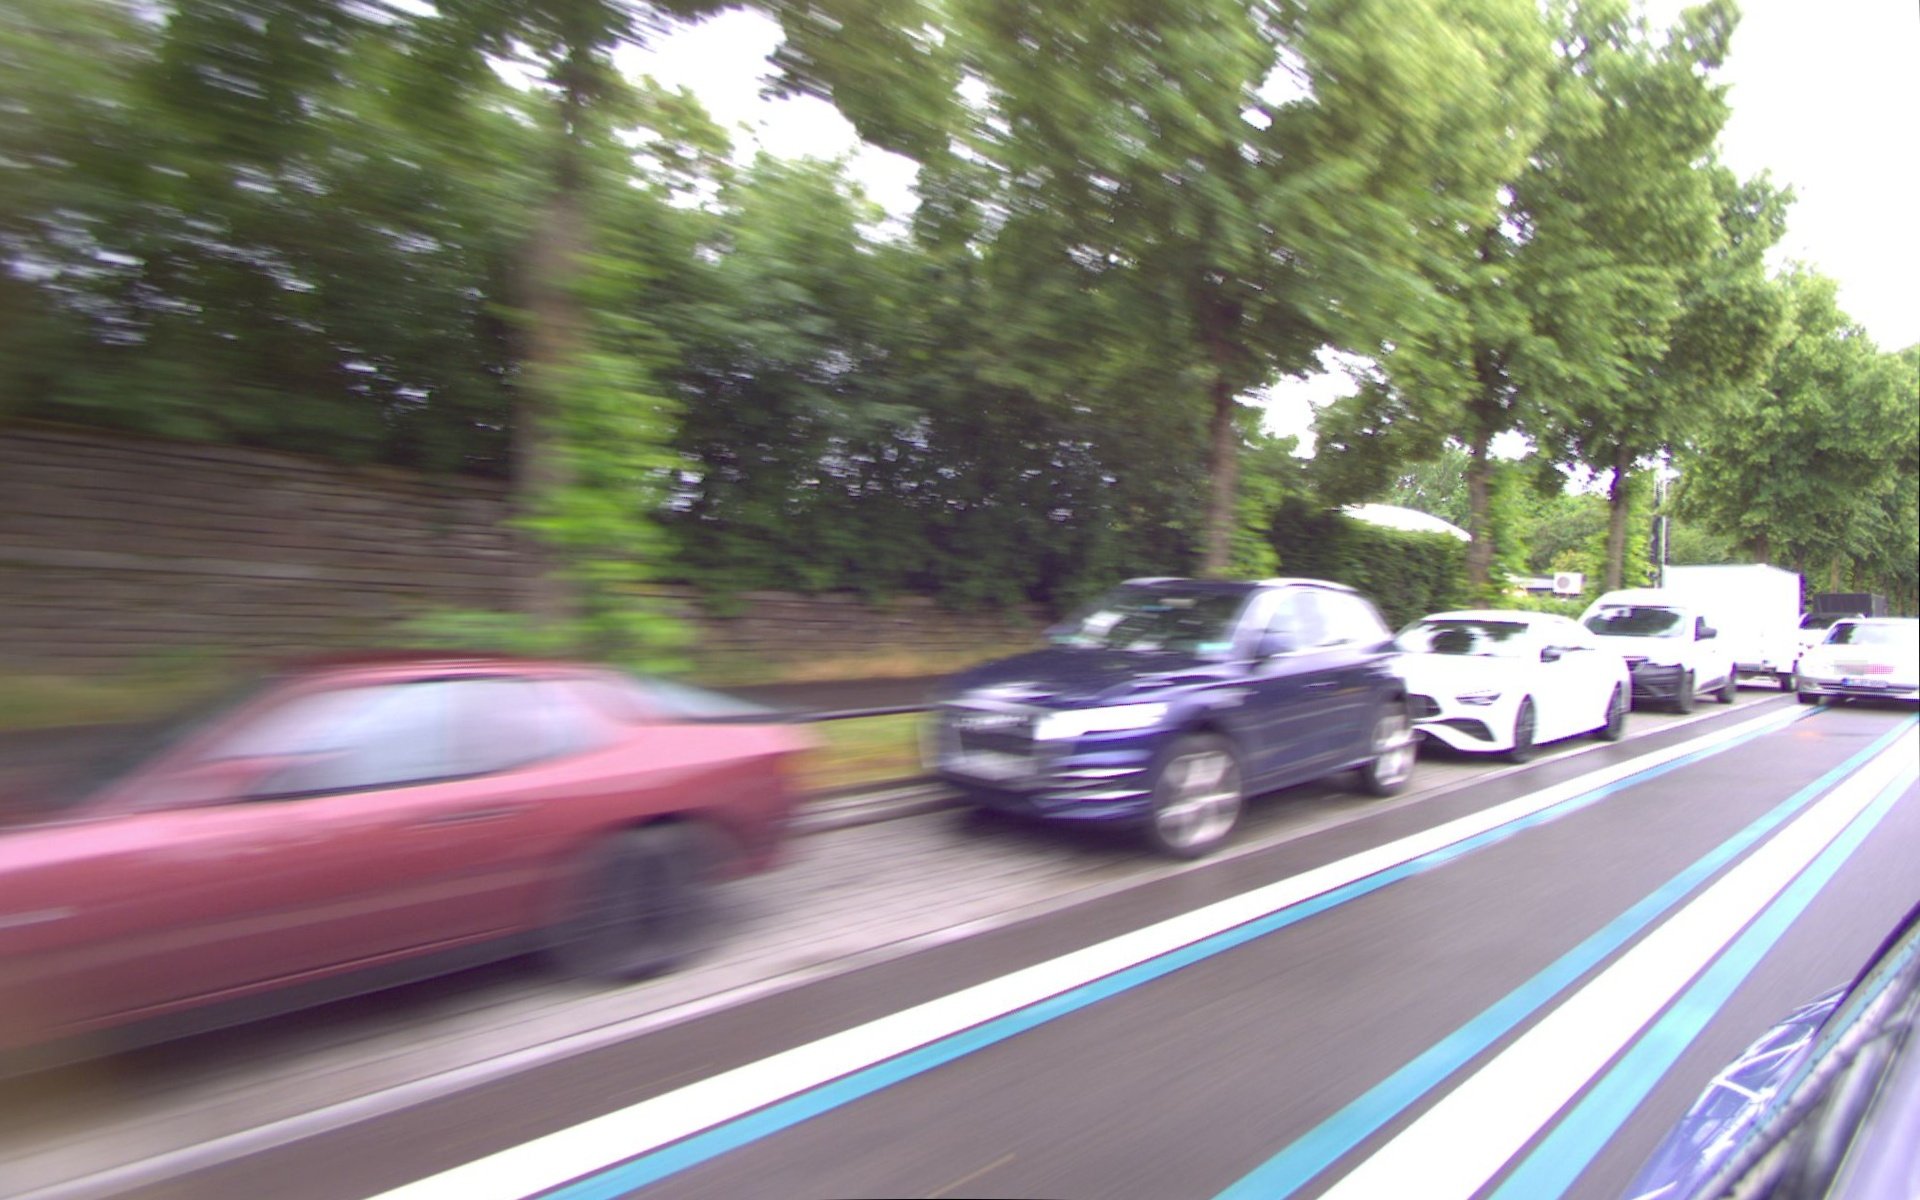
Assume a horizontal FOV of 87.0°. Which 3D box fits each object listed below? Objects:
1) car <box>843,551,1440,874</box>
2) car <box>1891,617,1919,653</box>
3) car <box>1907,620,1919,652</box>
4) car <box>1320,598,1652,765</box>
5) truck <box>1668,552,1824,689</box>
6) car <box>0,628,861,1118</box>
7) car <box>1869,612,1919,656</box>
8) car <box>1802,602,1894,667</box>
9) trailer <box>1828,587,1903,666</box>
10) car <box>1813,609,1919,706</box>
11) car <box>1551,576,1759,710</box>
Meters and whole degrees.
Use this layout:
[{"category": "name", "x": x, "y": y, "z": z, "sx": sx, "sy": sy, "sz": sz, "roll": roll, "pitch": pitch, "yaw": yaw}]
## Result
[{"category": "car", "x": 1.578, "y": 0.569, "z": 7.289, "sx": 1.994, "sy": 1.580, "sz": 4.567, "roll": 1, "pitch": 0, "yaw": 45}, {"category": "car", "x": 39.965, "y": 1.448, "z": 42.064, "sx": 3.934, "sy": 1.444, "sz": 1.691, "roll": 1, "pitch": 0, "yaw": -45}, {"category": "car", "x": 44.370, "y": 1.629, "z": 46.006, "sx": 4.014, "sy": 1.400, "sz": 1.687, "roll": 1, "pitch": -1, "yaw": -43}, {"category": "car", "x": 5.829, "y": 0.741, "z": 10.945, "sx": 4.537, "sy": 1.444, "sz": 1.662, "roll": 1, "pitch": 0, "yaw": -41}, {"category": "truck", "x": 15.103, "y": 0.375, "z": 19.377, "sx": 3.931, "sy": 2.363, "sz": 1.721, "roll": 1, "pitch": -1, "yaw": -42}, {"category": "car", "x": -2.500, "y": 0.740, "z": 3.716, "sx": 4.112, "sy": 1.205, "sz": 1.627, "roll": 1, "pitch": 0, "yaw": -43}, {"category": "car", "x": 35.875, "y": 1.264, "z": 38.337, "sx": 4.265, "sy": 1.592, "sz": 1.691, "roll": 1, "pitch": -2, "yaw": -42}, {"category": "car", "x": 23.995, "y": 0.891, "z": 27.362, "sx": 1.755, "sy": 1.605, "sz": 4.346, "roll": 1, "pitch": 0, "yaw": 42}, {"category": "trailer", "x": 27.846, "y": 0.803, "z": 31.085, "sx": 3.502, "sy": 2.298, "sz": 1.348, "roll": 1, "pitch": -1, "yaw": -42}, {"category": "car", "x": 15.678, "y": 0.895, "z": 16.826, "sx": 4.512, "sy": 1.416, "sz": 1.724, "roll": 1, "pitch": 0, "yaw": -43}, {"category": "car", "x": 10.889, "y": 0.605, "z": 15.734, "sx": 4.270, "sy": 1.813, "sz": 1.724, "roll": 1, "pitch": 0, "yaw": -42}]
